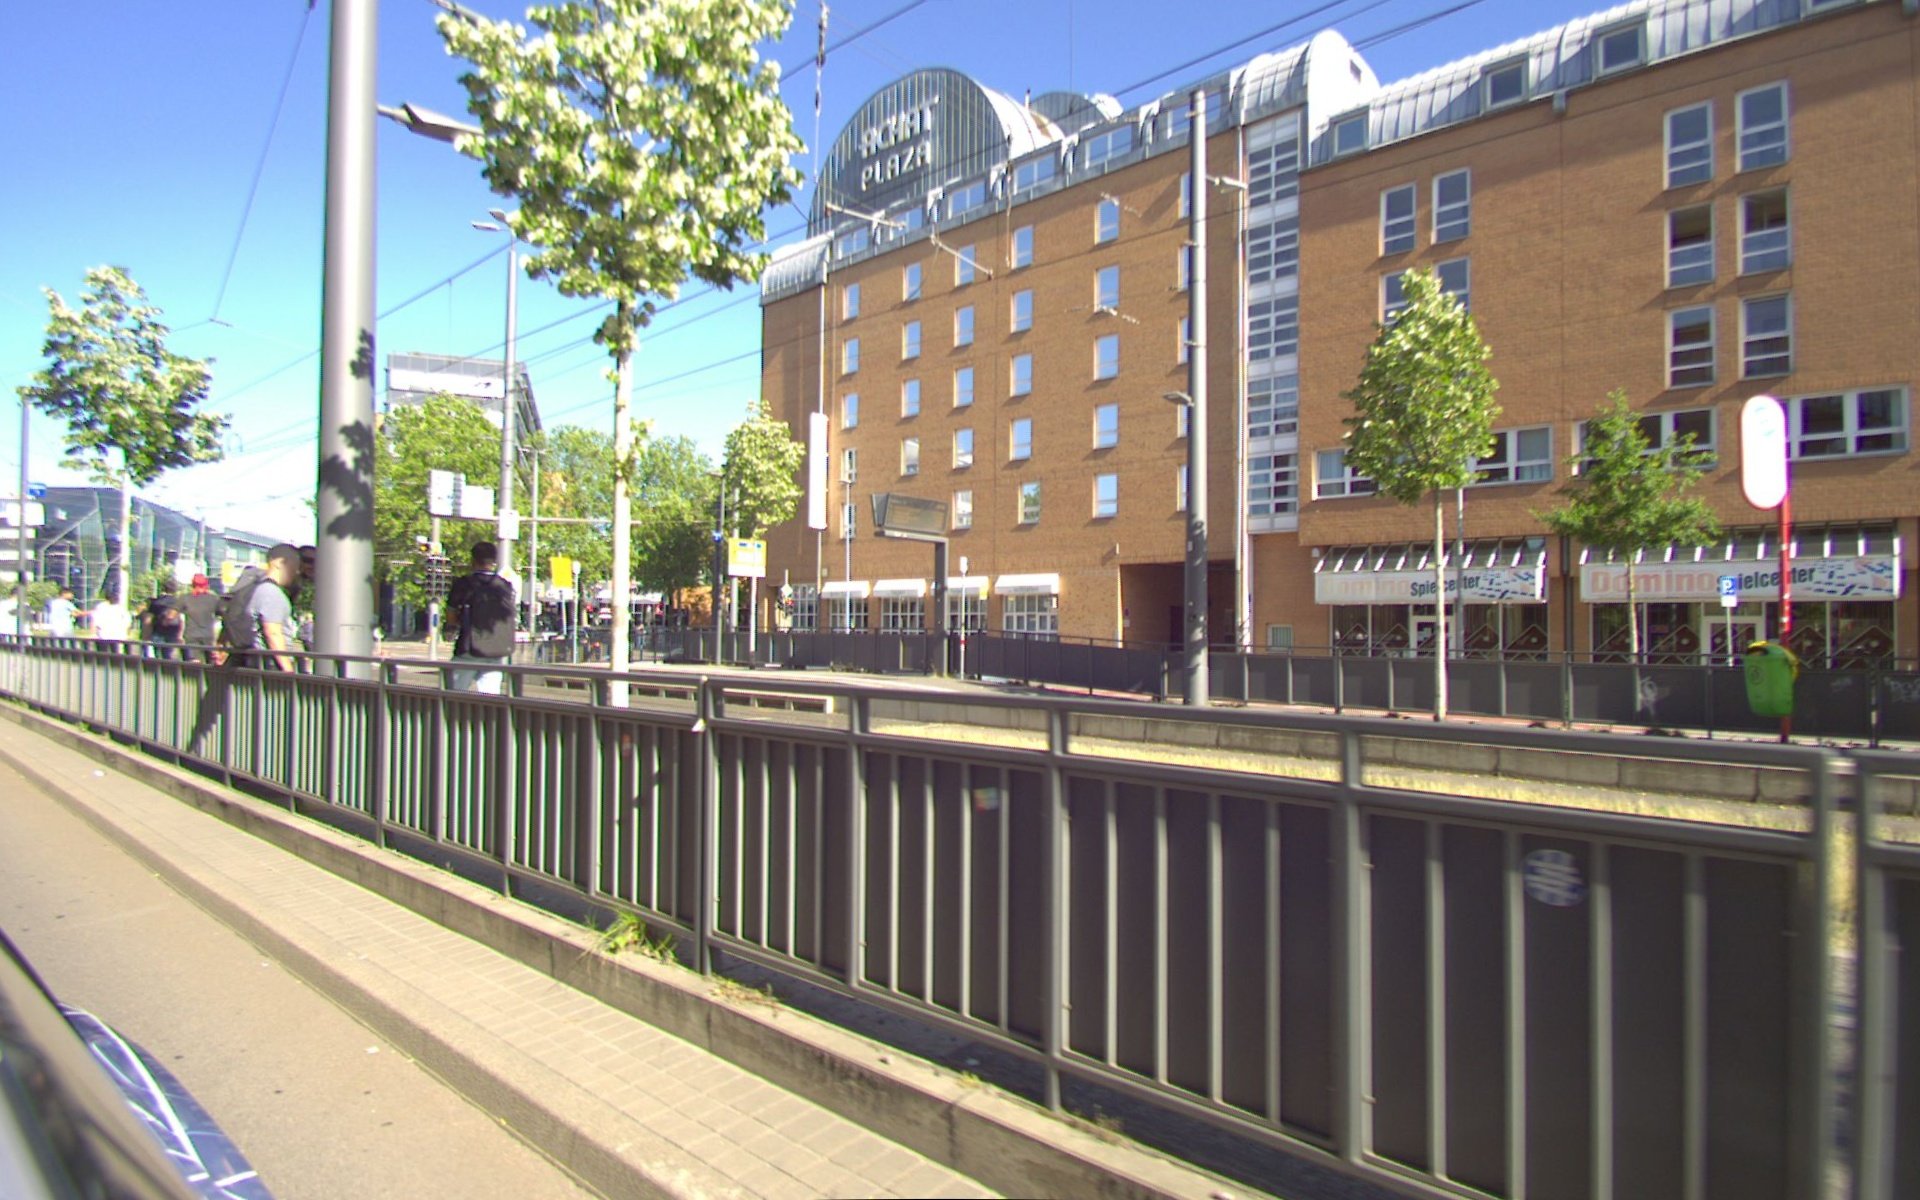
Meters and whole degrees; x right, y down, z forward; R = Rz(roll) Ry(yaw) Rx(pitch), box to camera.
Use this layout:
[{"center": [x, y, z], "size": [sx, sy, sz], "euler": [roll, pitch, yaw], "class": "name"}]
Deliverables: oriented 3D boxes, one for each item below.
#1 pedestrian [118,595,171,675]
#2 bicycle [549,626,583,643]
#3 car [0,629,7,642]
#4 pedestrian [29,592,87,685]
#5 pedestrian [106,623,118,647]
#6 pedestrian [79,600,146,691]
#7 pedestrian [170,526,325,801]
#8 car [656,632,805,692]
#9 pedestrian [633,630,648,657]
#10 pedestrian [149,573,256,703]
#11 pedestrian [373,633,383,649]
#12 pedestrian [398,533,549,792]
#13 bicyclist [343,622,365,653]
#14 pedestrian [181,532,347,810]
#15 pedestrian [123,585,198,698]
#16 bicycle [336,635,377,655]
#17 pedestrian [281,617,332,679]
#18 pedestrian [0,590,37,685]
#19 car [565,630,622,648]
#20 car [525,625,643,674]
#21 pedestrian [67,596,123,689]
[{"center": [-16.553, 0.702, 20.540], "size": [0.907, 1.581, 0.602], "euler": [-1, -3, 38], "class": "pedestrian"}, {"center": [-36.299, 3.200, 93.262], "size": [2.805, 1.548, 0.905], "euler": [3, -3, -43], "class": "bicycle"}, {"center": [-113.409, 4.143, 118.918], "size": [1.925, 1.475, 4.006], "euler": [0, -1, -41], "class": "car"}, {"center": [-17.564, 0.747, 19.706], "size": [0.819, 1.757, 0.641], "euler": [-1, -3, 38], "class": "pedestrian"}, {"center": [-59.569, 2.468, 71.109], "size": [0.572, 1.647, 0.549], "euler": [2, -3, -37], "class": "pedestrian"}, {"center": [-15.585, 0.830, 18.610], "size": [0.774, 1.631, 0.746], "euler": [-1, -3, 38], "class": "pedestrian"}, {"center": [-5.285, 0.454, 7.512], "size": [0.715, 1.899, 0.738], "euler": [-1, -3, 41], "class": "pedestrian"}, {"center": [-6.402, 1.670, 28.015], "size": [4.288, 1.510, 1.911], "euler": [-1, -3, 43], "class": "car"}, {"center": [-20.422, 2.765, 64.698], "size": [0.636, 1.719, 0.729], "euler": [3, -3, -44], "class": "pedestrian"}, {"center": [-11.136, 0.550, 14.883], "size": [1.021, 1.825, 0.982], "euler": [-1, -3, 38], "class": "pedestrian"}, {"center": [-50.517, 3.553, 87.879], "size": [0.653, 1.408, 0.673], "euler": [2, -3, -37], "class": "pedestrian"}, {"center": [-3.516, 0.435, 7.319], "size": [0.752, 1.736, 0.701], "euler": [-1, -3, 40], "class": "pedestrian"}, {"center": [-33.004, 2.056, 55.103], "size": [0.836, 1.652, 0.780], "euler": [3, -3, -41], "class": "bicyclist"}, {"center": [-4.764, 0.465, 6.936], "size": [0.715, 1.762, 0.738], "euler": [-1, -3, 41], "class": "pedestrian"}, {"center": [-13.347, 0.680, 16.897], "size": [0.839, 1.825, 0.746], "euler": [-1, -3, 38], "class": "pedestrian"}, {"center": [-32.891, 2.456, 55.148], "size": [1.812, 1.108, 0.639], "euler": [2, -3, -40], "class": "bicycle"}, {"center": [-18.377, 1.348, 28.461], "size": [1.007, 1.702, 0.947], "euler": [-1, -3, 43], "class": "pedestrian"}, {"center": [-17.982, 0.709, 19.111], "size": [0.819, 1.757, 0.641], "euler": [-1, -3, 38], "class": "pedestrian"}, {"center": [-31.272, 3.358, 86.448], "size": [1.910, 1.519, 4.113], "euler": [-1, -3, 44], "class": "car"}, {"center": [-12.496, 1.597, 33.527], "size": [4.288, 1.510, 1.911], "euler": [-1, -3, 43], "class": "car"}, {"center": [-17.165, 0.834, 20.076], "size": [0.819, 1.787, 0.641], "euler": [-1, -3, 38], "class": "pedestrian"}]
